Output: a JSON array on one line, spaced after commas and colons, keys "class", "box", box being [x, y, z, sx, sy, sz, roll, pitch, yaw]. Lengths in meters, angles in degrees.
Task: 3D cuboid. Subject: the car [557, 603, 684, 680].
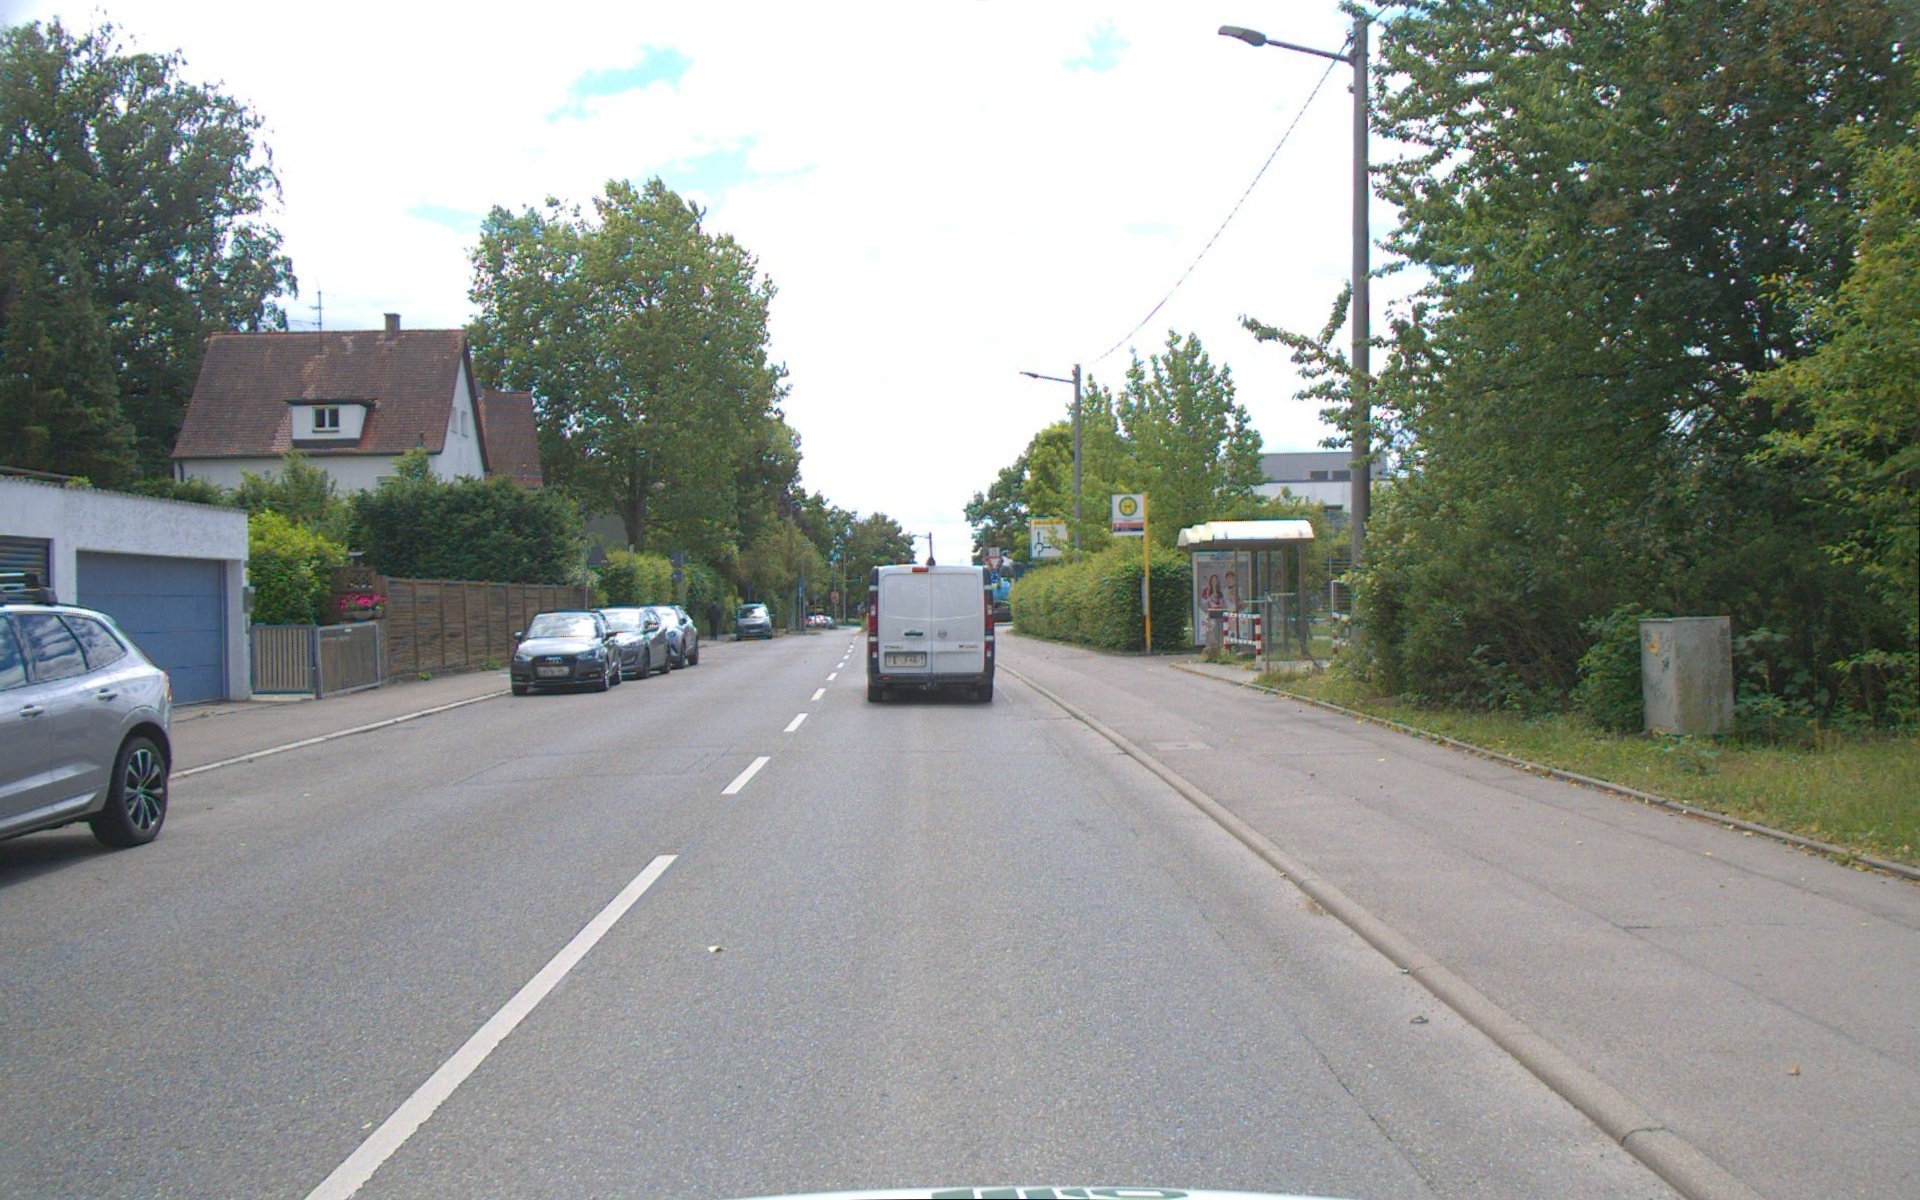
[{"class": "car", "box": [-7.218, 0.842, 35.587, 1.829, 1.484, 4.488, -1, 0, -1]}]

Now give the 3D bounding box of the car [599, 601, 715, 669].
[{"class": "car", "box": [-7.453, 0.821, 41.106, 1.953, 1.505, 4.647, -2, 0, 0]}]

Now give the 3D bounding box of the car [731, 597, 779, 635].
[{"class": "car", "box": [-9.928, 0.750, 79.844, 2.093, 1.803, 4.454, 0, 0, -10]}]

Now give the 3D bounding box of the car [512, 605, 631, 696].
[{"class": "car", "box": [-7.134, 0.885, 30.671, 1.619, 1.452, 3.901, -2, 1, -6]}]

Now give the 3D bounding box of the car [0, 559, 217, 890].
[{"class": "car", "box": [-6.363, 0.710, 9.685, 1.945, 1.850, 4.706, -1, 1, -1]}]

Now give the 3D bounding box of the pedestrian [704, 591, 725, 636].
[{"class": "pedestrian", "box": [-11.536, 0.626, 77.854, 0.855, 2.049, 1.039, -2, 0, -7]}]

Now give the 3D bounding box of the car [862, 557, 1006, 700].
[{"class": "car", "box": [-0.456, 0.390, 25.424, 1.994, 1.979, 4.991, 0, 0, -2]}]

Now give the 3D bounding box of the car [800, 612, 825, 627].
[{"class": "car", "box": [-15.103, 1.937, 169.265, 2.026, 1.410, 4.035, -1, 1, -12]}]
